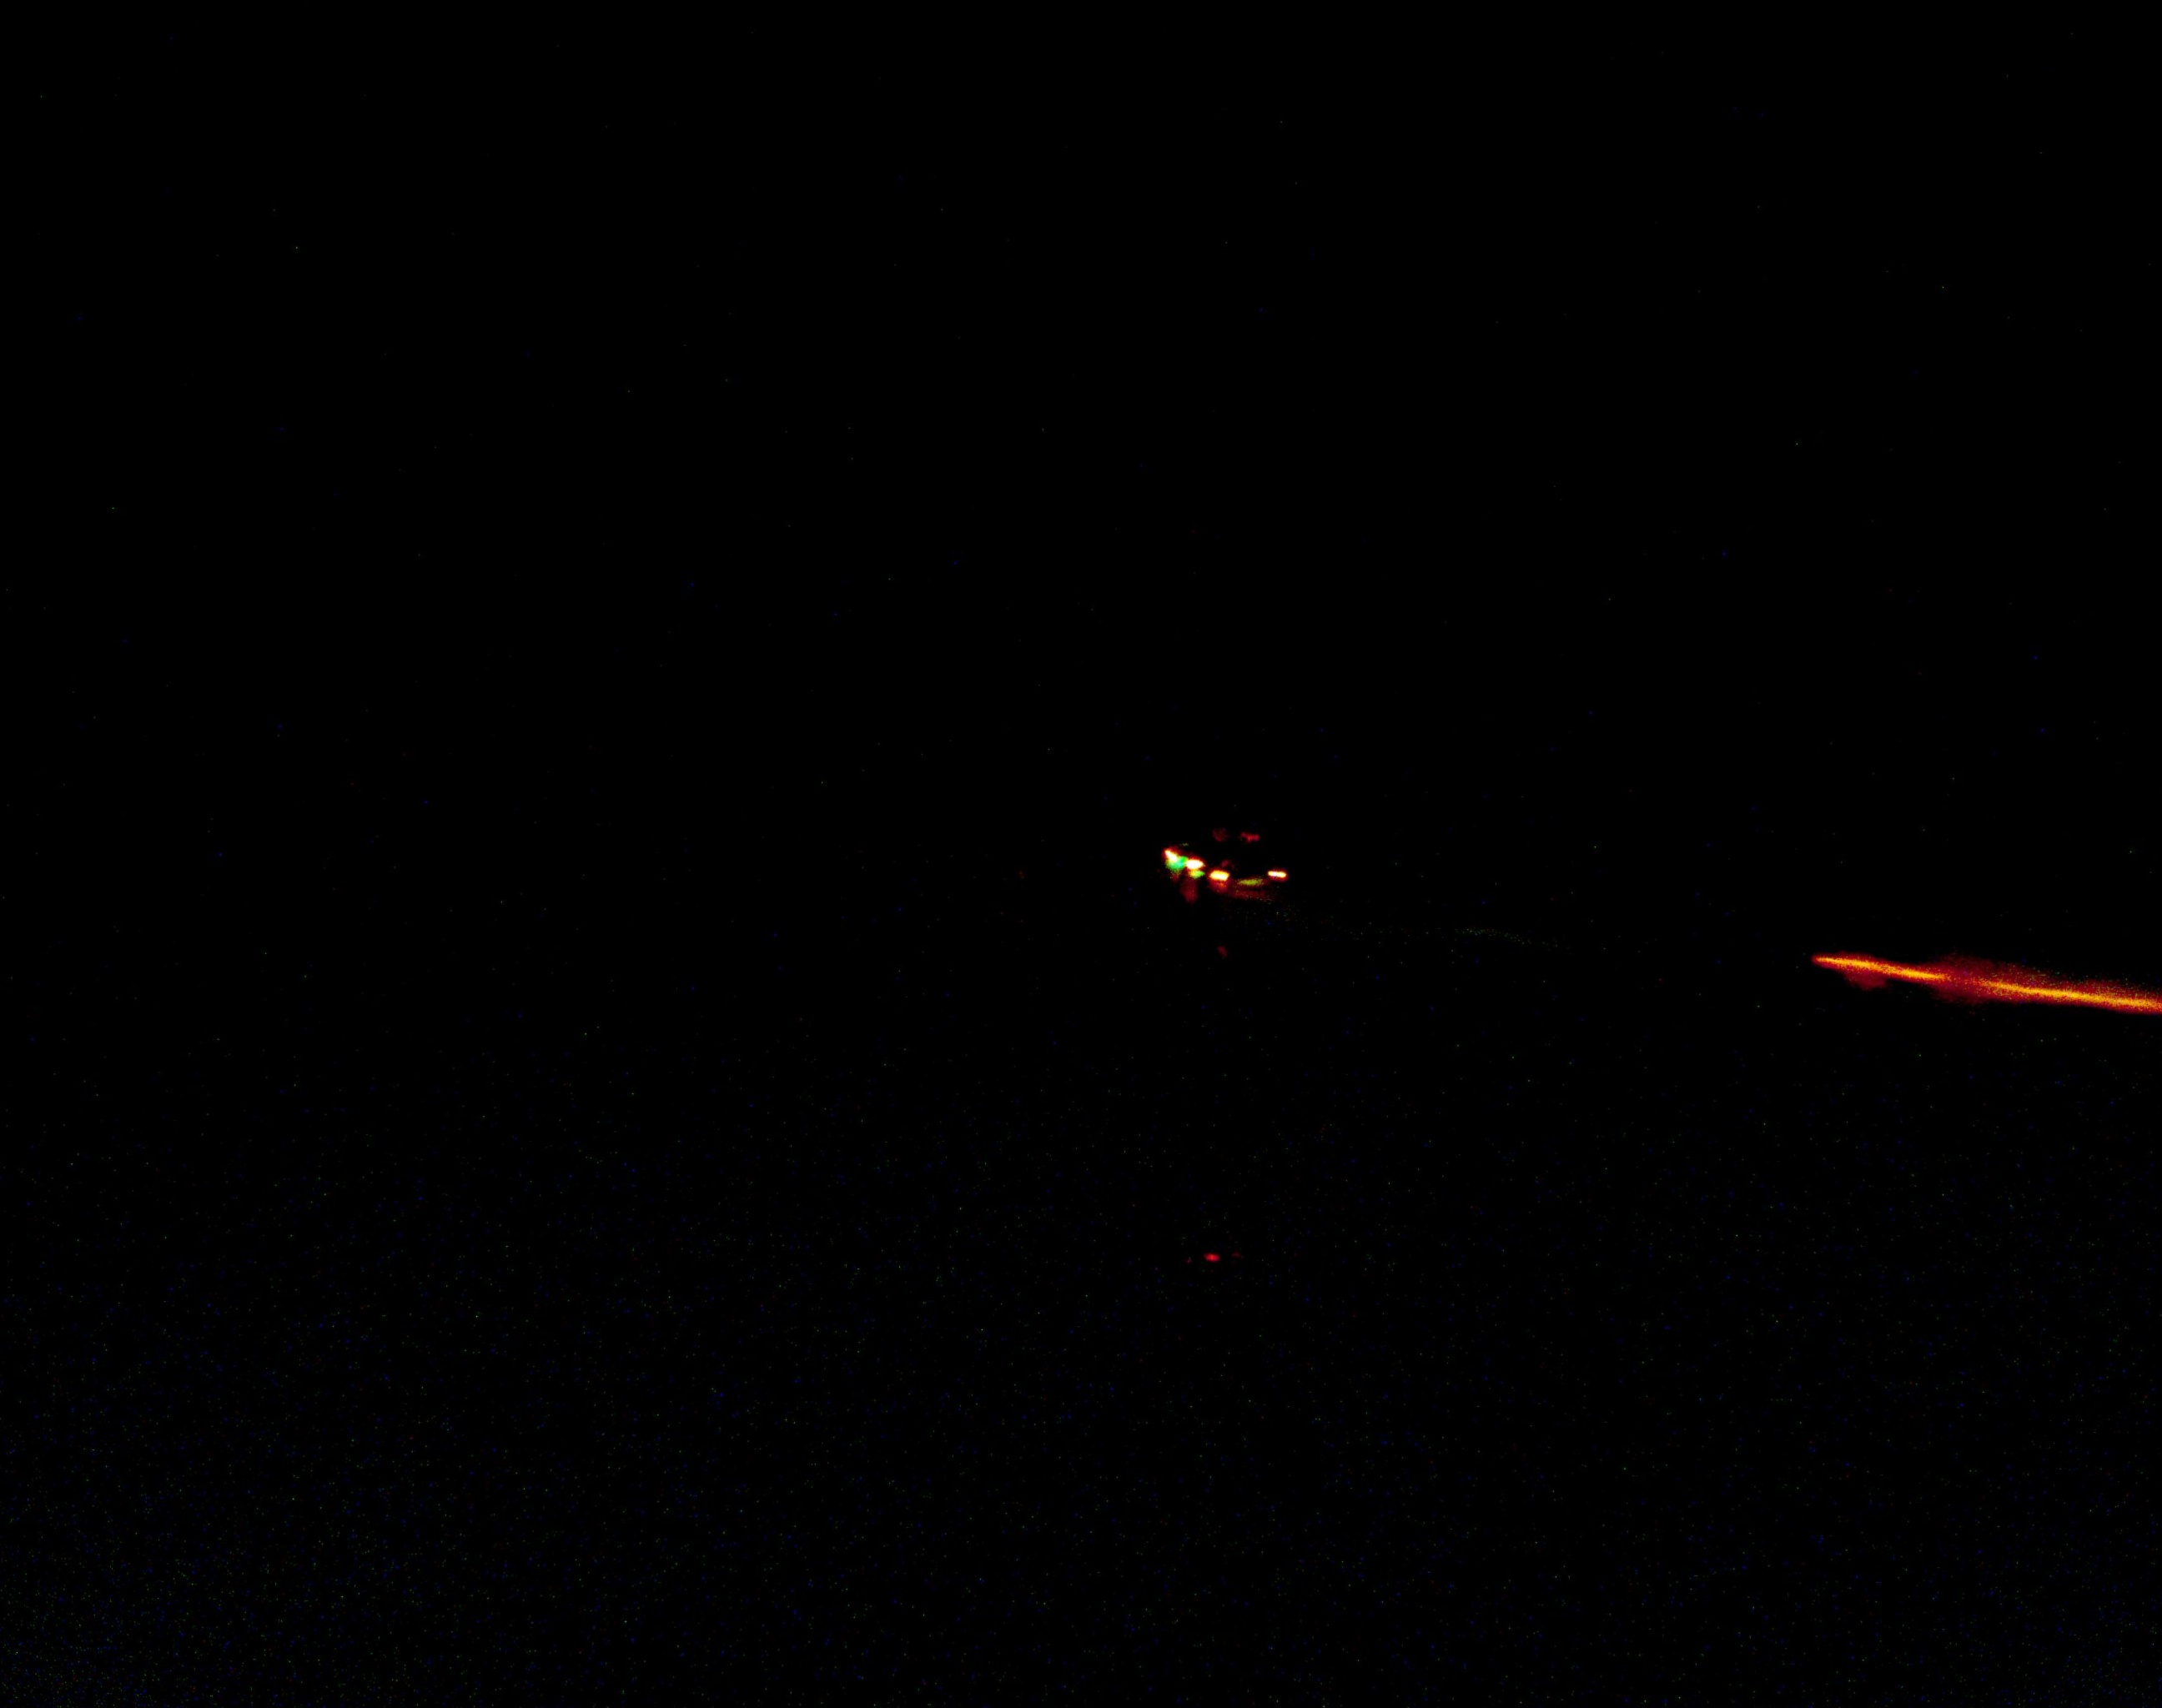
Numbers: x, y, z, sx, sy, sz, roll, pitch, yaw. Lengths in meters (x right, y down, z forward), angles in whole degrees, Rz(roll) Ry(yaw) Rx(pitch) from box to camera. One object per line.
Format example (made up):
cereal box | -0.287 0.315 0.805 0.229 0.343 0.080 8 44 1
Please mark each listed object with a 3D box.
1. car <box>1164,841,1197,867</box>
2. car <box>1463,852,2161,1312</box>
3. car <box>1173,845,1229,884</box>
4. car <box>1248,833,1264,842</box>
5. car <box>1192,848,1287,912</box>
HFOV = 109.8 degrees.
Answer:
car | 6.323 -0.048 47.906 1.774 1.475 4.383 -2 1 11
car | 4.333 0.746 4.578 1.776 1.381 4.230 -2 1 -2
car | 4.823 0.381 31.103 1.775 1.381 4.112 -2 1 2
car | 31.961 -3.012 138.550 1.995 1.699 4.991 1 2 22
car | 4.031 0.596 19.964 1.775 1.381 4.232 -2 1 3
